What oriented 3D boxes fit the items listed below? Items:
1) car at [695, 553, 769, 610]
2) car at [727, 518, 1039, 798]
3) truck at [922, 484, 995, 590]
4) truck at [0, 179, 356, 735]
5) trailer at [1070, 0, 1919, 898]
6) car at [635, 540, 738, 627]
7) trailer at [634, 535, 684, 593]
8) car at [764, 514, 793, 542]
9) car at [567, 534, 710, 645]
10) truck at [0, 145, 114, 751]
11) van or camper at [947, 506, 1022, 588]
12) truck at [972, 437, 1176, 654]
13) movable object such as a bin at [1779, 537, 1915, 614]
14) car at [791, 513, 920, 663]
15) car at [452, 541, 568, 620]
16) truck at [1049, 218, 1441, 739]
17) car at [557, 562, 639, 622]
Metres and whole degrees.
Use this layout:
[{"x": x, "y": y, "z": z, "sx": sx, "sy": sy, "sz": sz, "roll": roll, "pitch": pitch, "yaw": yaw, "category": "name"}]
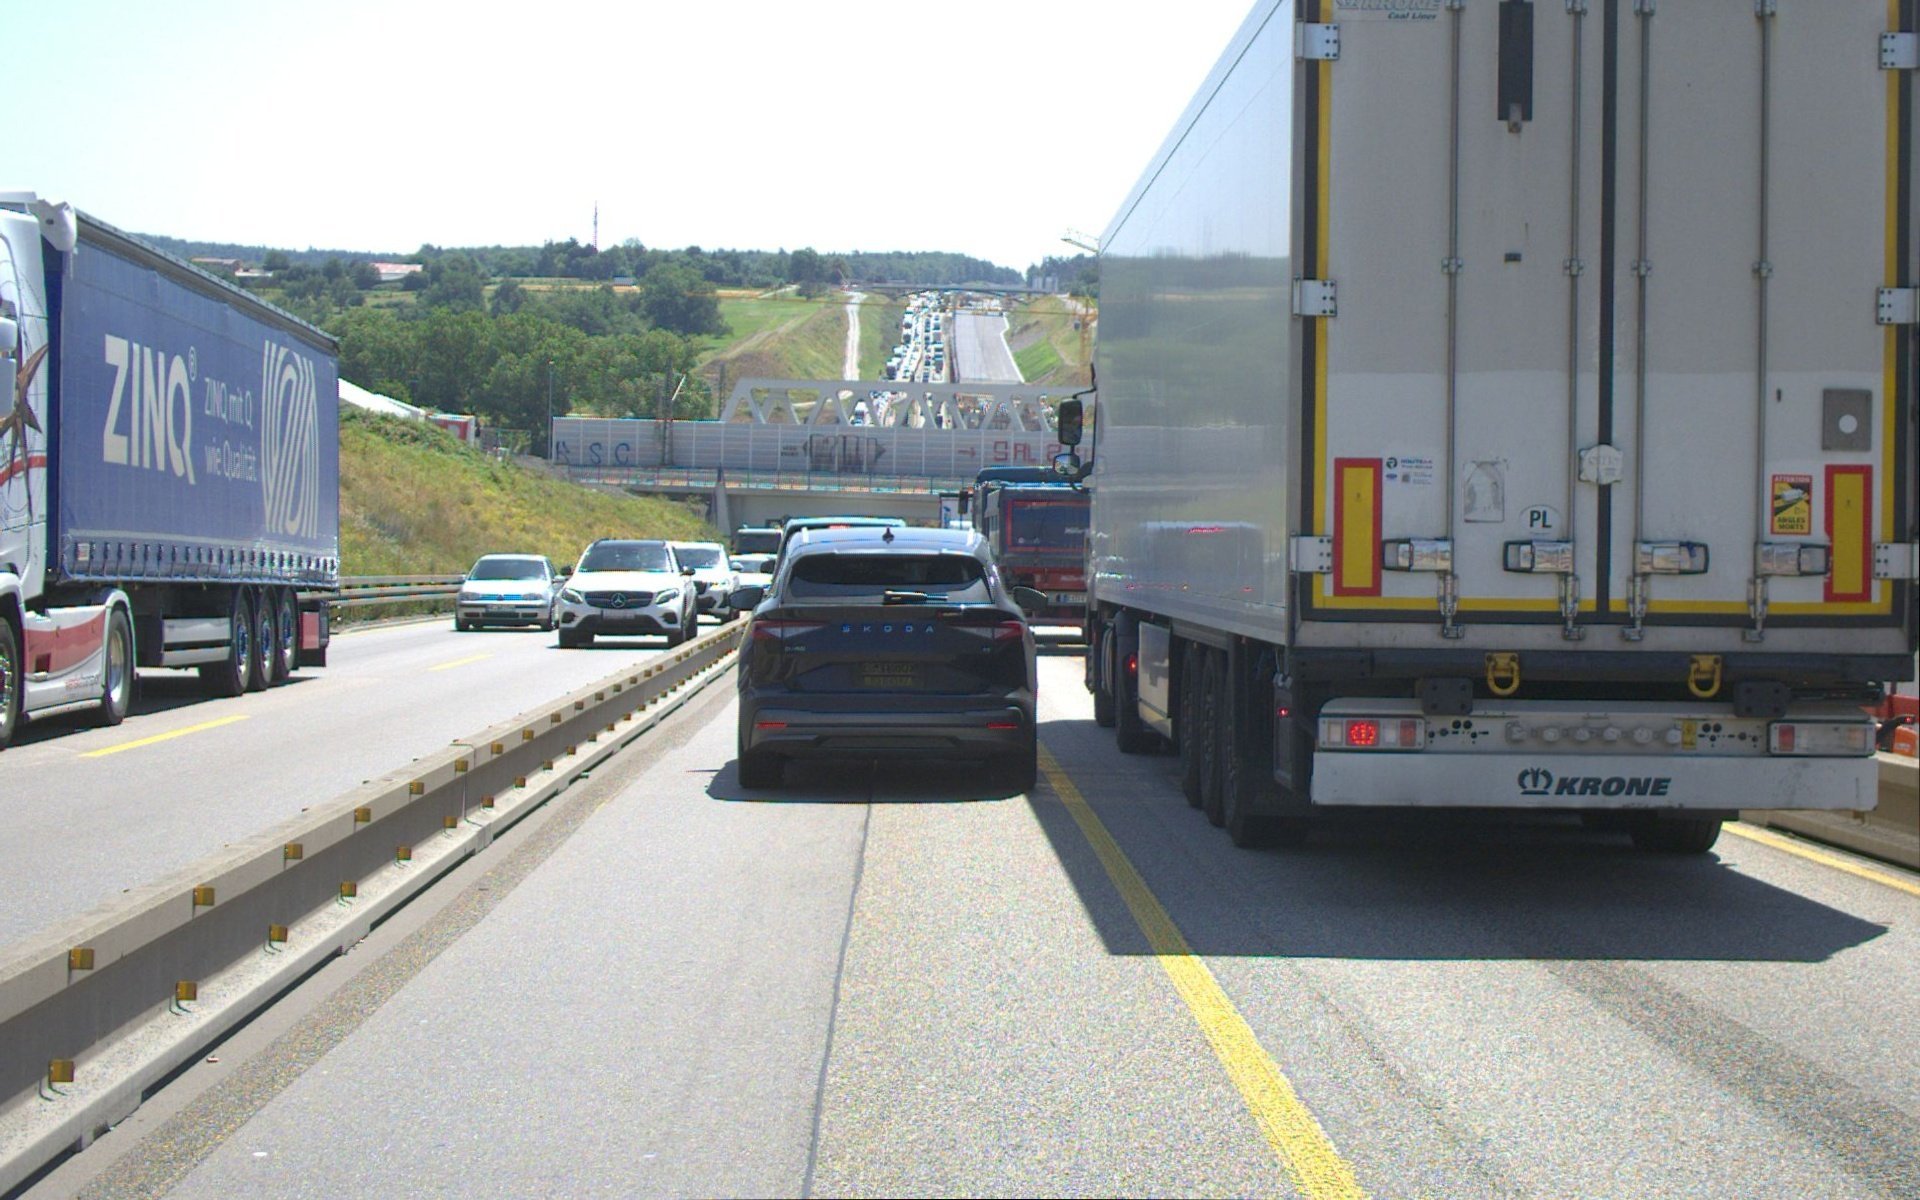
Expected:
[{"x": -6.162, "y": -0.508, "z": 93.248, "sx": 1.806, "sy": 1.472, "sz": 4.280, "roll": 1, "pitch": 1, "yaw": -2, "category": "car"}, {"x": -0.474, "y": 0.299, "z": 21.656, "sx": 1.800, "sy": 1.615, "sz": 3.298, "roll": 1, "pitch": 1, "yaw": -1, "category": "car"}, {"x": -0.092, "y": -2.471, "z": 134.118, "sx": 2.517, "sy": 3.946, "sz": 7.600, "roll": 2, "pitch": 1, "yaw": -2, "category": "truck"}, {"x": -8.442, "y": -1.190, "z": 32.657, "sx": 3.243, "sy": 4.145, "sz": 13.979, "roll": 1, "pitch": 1, "yaw": -1, "category": "truck"}, {"x": 2.492, "y": -0.891, "z": 20.909, "sx": 2.801, "sy": 4.044, "sz": 14.118, "roll": 1, "pitch": 0, "yaw": -1, "category": "trailer"}, {"x": -5.623, "y": -0.361, "z": 71.153, "sx": 1.891, "sy": 1.702, "sz": 4.562, "roll": 1, "pitch": 1, "yaw": -2, "category": "car"}, {"x": -10.538, "y": -1.274, "z": 120.520, "sx": 1.646, "sy": 2.019, "sz": 4.271, "roll": 0, "pitch": 1, "yaw": -3, "category": "trailer"}, {"x": -11.657, "y": -4.624, "z": 220.865, "sx": 1.732, "sy": 1.787, "sz": 3.581, "roll": 1, "pitch": 1, "yaw": -2, "category": "car"}, {"x": -4.925, "y": -0.184, "z": 53.112, "sx": 1.812, "sy": 1.632, "sz": 4.362, "roll": 0, "pitch": 1, "yaw": 0, "category": "car"}, {"x": -8.223, "y": -1.069, "z": 24.810, "sx": 3.239, "sy": 4.145, "sz": 4.248, "roll": 1, "pitch": 1, "yaw": -1, "category": "truck"}, {"x": 0.688, "y": -1.533, "z": 98.562, "sx": 1.993, "sy": 2.237, "sz": 4.000, "roll": 2, "pitch": 1, "yaw": -1, "category": "van or camper"}, {"x": 1.675, "y": -0.859, "z": 56.395, "sx": 2.814, "sy": 3.124, "sz": 12.838, "roll": 1, "pitch": 1, "yaw": 0, "category": "truck"}, {"x": 35.248, "y": -1.001, "z": 136.937, "sx": 2.887, "sy": 2.899, "sz": 9.479, "roll": 1, "pitch": 1, "yaw": 0, "category": "movable object such as a bin"}, {"x": -1.269, "y": -0.175, "z": 42.669, "sx": 1.475, "sy": 1.789, "sz": 3.298, "roll": 0, "pitch": 1, "yaw": 0, "category": "car"}, {"x": -8.211, "y": -0.369, "z": 63.021, "sx": 1.701, "sy": 1.374, "sz": 3.967, "roll": 1, "pitch": 1, "yaw": -2, "category": "car"}, {"x": 2.288, "y": -0.967, "z": 29.301, "sx": 2.776, "sy": 4.044, "sz": 4.905, "roll": 1, "pitch": 0, "yaw": -1, "category": "truck"}, {"x": -9.936, "y": -0.235, "z": 94.691, "sx": 1.899, "sy": 1.579, "sz": 4.515, "roll": 1, "pitch": 1, "yaw": -2, "category": "car"}]
